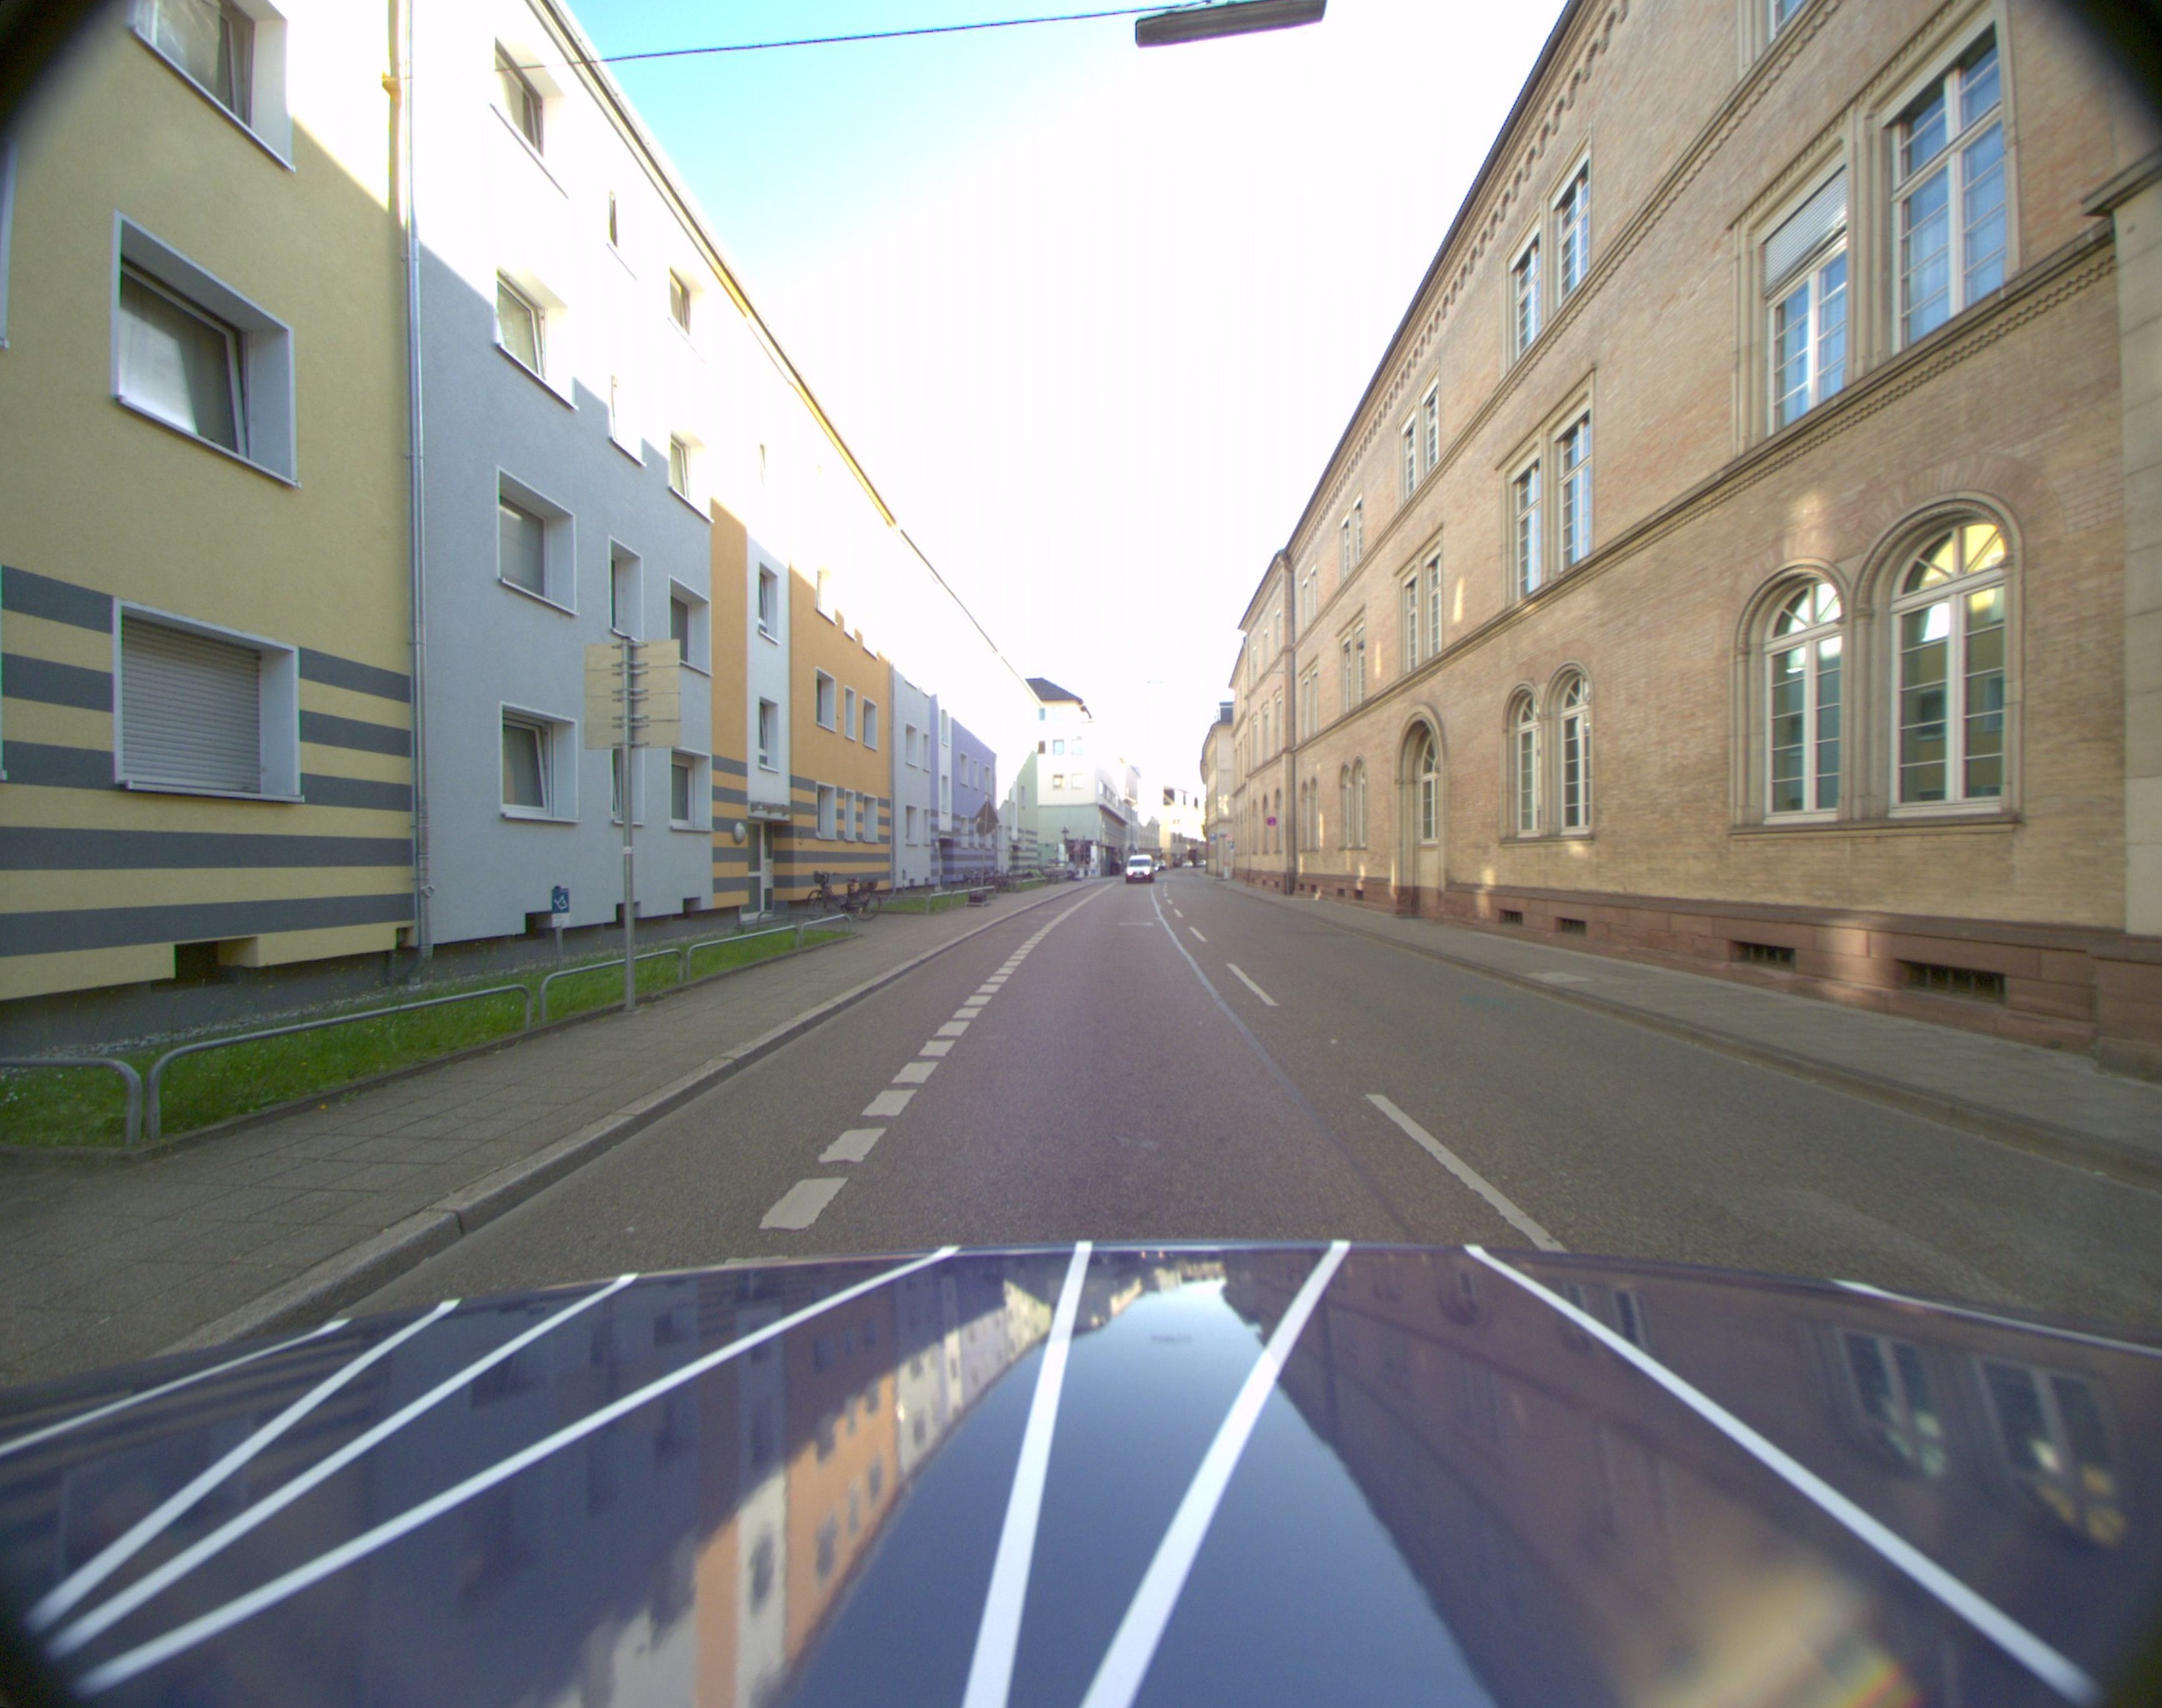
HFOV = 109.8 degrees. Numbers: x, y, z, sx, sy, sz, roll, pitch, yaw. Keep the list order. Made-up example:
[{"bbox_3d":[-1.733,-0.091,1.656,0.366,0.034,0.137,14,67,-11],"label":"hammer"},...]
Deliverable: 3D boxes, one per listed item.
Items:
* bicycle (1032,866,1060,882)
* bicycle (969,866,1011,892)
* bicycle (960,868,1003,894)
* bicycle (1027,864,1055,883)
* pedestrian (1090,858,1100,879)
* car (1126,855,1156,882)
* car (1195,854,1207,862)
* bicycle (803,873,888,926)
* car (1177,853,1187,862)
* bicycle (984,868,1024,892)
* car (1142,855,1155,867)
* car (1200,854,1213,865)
[{"bbox_3d":[-2.174,1.270,47.593,1.711,0.972,0.516,1,0,-2],"label":"bicycle"},{"bbox_3d":[-3.952,1.090,33.013,1.710,1.075,0.636,1,0,1],"label":"bicycle"},{"bbox_3d":[-4.154,1.128,31.870,1.710,1.039,0.636,1,0,2],"label":"bicycle"},{"bbox_3d":[-2.422,1.194,46.133,1.711,1.097,0.584,1,0,-2],"label":"bicycle"},{"bbox_3d":[1.076,1.089,56.509,0.708,1.510,0.661,-1,0,2],"label":"pedestrian"},{"bbox_3d":[4.108,0.935,51.186,1.922,1.712,4.962,0,0,6],"label":"car"},{"bbox_3d":[25.896,0.795,163.531,1.925,1.714,4.236,0,0,19],"label":"car"},{"bbox_3d":[-5.294,1.015,17.118,1.711,1.152,0.636,1,0,-2],"label":"bicycle"},{"bbox_3d":[19.901,0.608,149.681,1.534,1.714,3.743,0,0,16],"label":"car"},{"bbox_3d":[-3.393,1.154,33.774,1.711,1.029,0.636,1,0,-2],"label":"bicycle"},{"bbox_3d":[9.469,0.990,106.058,1.535,1.714,3.741,0,0,8],"label":"car"},{"bbox_3d":[19.880,0.795,120.087,1.662,1.714,3.743,0,0,14],"label":"car"}]
